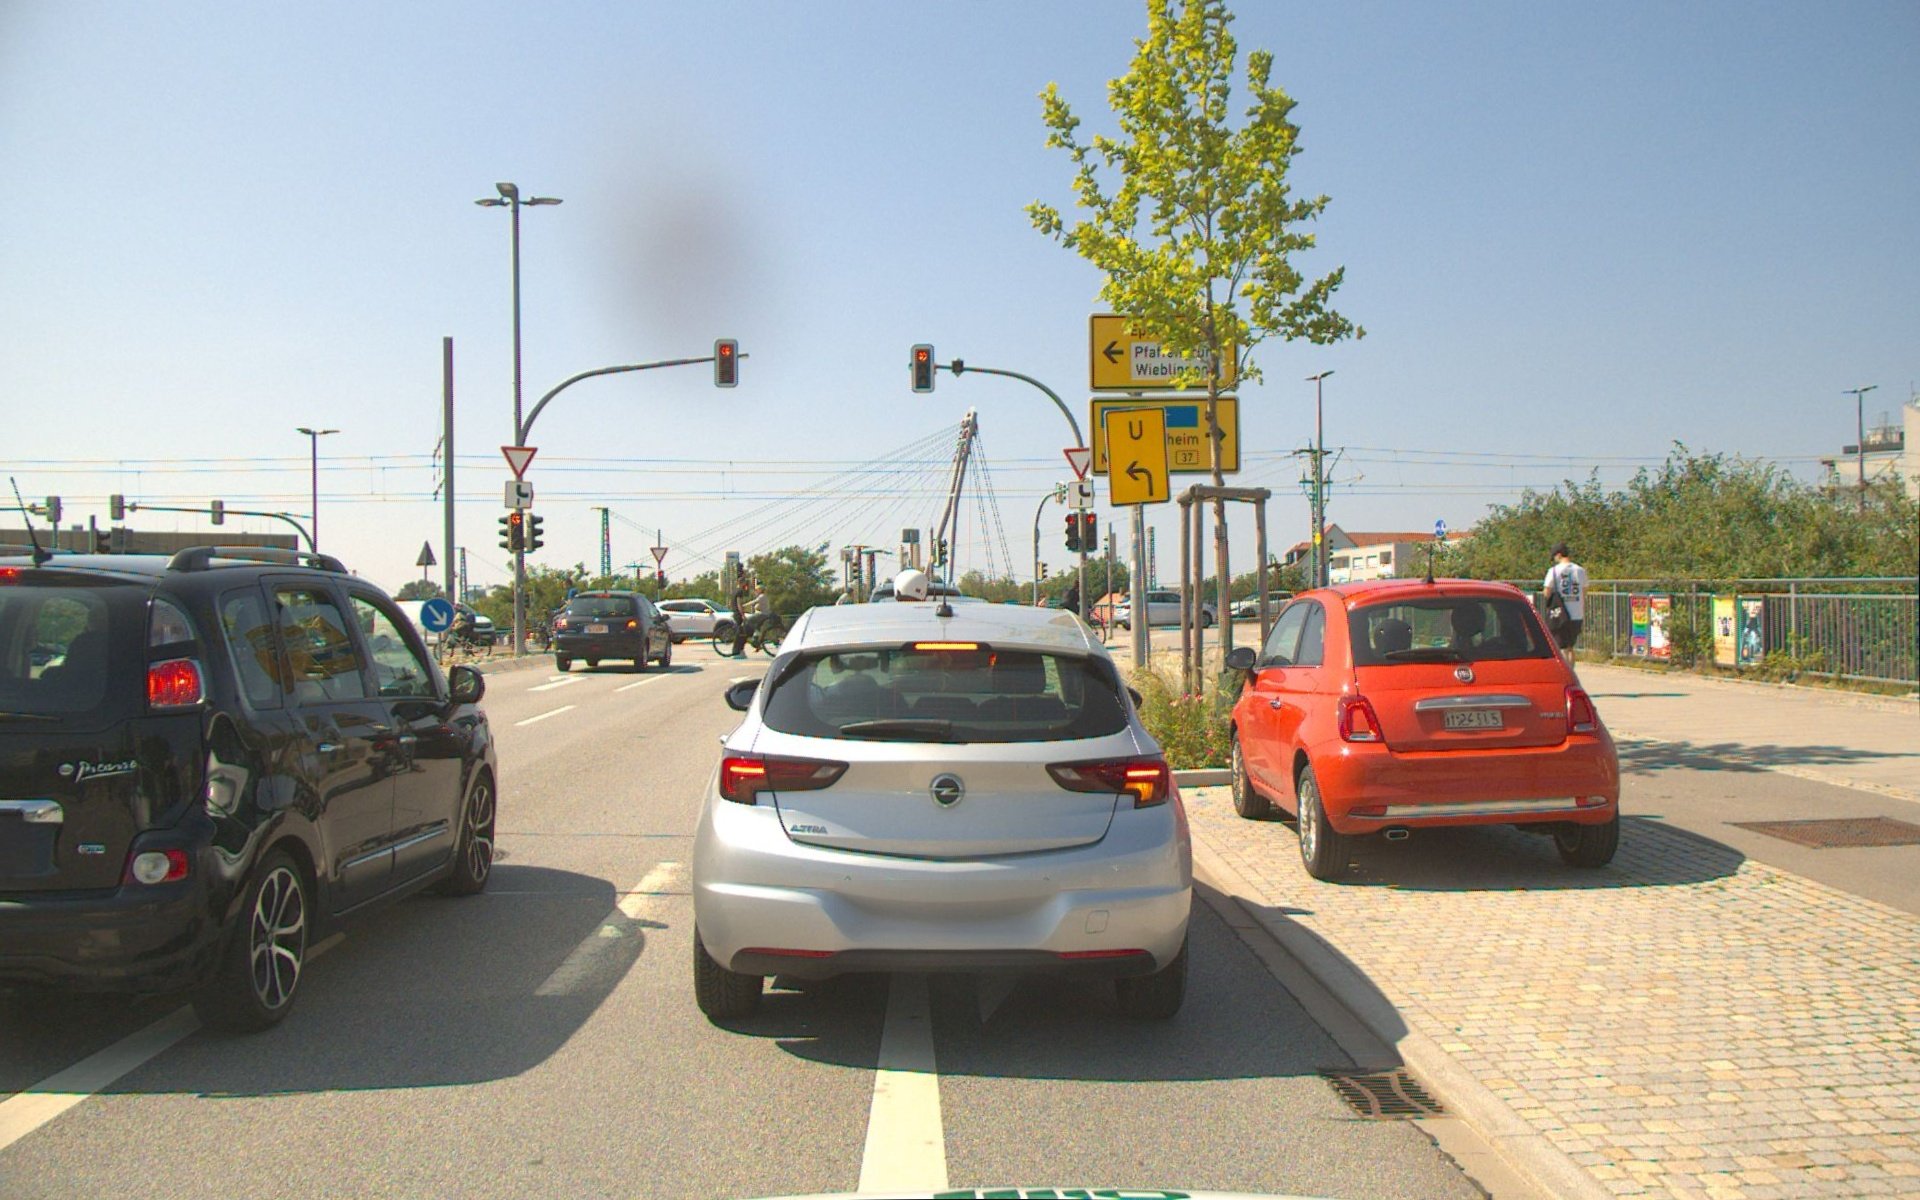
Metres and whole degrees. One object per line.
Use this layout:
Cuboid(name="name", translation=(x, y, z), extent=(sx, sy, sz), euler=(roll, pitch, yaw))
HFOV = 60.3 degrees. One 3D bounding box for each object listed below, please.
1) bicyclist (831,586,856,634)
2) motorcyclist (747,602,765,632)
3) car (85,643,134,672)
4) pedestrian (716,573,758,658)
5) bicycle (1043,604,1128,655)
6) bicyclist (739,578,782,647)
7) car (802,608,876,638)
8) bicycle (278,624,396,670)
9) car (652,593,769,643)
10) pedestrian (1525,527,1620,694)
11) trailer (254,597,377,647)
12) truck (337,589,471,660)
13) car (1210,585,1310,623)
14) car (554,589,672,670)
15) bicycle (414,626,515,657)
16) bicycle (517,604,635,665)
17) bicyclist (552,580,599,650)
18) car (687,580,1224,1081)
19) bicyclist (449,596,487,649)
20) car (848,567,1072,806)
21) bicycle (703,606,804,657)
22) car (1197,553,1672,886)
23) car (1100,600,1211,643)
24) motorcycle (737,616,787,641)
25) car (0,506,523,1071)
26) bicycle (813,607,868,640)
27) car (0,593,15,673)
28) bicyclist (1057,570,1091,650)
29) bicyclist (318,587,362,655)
Cuboid(name="bicyclist", translation=(-4.013, 0.353, 57.051), extent=(0.756, 1.638, 0.949), euler=(1, -1, 1))
Cuboid(name="motorcyclist", translation=(-10.414, 0.855, 84.332), extent=(0.792, 1.502, 0.885), euler=(1, -1, -1))
Cuboid(name="car", translation=(-39.709, 2.679, 77.176), extent=(2.440, 1.262, 1.271), euler=(0, -1, 42))
Cuboid(name="pedestrian", translation=(-5.062, 0.348, 37.524), extent=(0.730, 1.896, 0.748), euler=(2, -1, -22))
Cuboid(name="bicycle", translation=(3.031, 0.708, 39.963), extent=(2.053, 1.198, 0.551), euler=(0, -1, -24))
Cuboid(name="bicyclist", translation=(-4.703, 0.300, 39.033), extent=(0.926, 1.596, 0.822), euler=(1, -1, -4))
Cuboid(name="car", translation=(-5.536, 1.047, 75.542), extent=(3.156, 1.327, 1.519), euler=(1, -1, -13))
Cuboid(name="bicycle", translation=(-14.216, 1.064, 37.769), extent=(2.453, 1.025, 0.605), euler=(0, -1, -1))
Cuboid(name="car", translation=(-9.479, 0.679, 62.969), extent=(3.947, 1.846, 1.933), euler=(1, -1, 15))
Cuboid(name="pedestrian", translation=(7.069, 0.125, 19.128), extent=(0.743, 1.862, 0.884), euler=(1, -1, -1))
Cuboid(name="trailer", translation=(-25.051, 0.857, 64.269), extent=(4.184, 1.807, 2.000), euler=(1, -1, 22))
Cuboid(name="truck", translation=(-21.088, 0.913, 62.727), extent=(4.597, 2.585, 2.000), euler=(0, -1, 22))
Cuboid(name="car", translation=(14.048, 0.215, 77.440), extent=(4.180, 1.703, 1.990), euler=(1, -1, -18))
Cuboid(name="car", translation=(-6.399, 0.539, 30.806), extent=(1.555, 1.419, 3.338), euler=(0, -1, -2))
Cuboid(name="bicycle", translation=(-11.521, 0.970, 38.477), extent=(2.200, 0.704, 0.516), euler=(0, -1, -1))
Cuboid(name="bicycle", translation=(-8.819, 0.786, 38.068), extent=(2.474, 1.153, 0.728), euler=(-5, 2, -2))
Cuboid(name="bicyclist", translation=(-8.842, 0.350, 38.046), extent=(0.805, 1.587, 0.863), euler=(1, -1, 2))
Cuboid(name="car", translation=(-0.061, 0.722, 7.269), extent=(1.656, 1.546, 4.269), euler=(0, 0, -1))
Cuboid(name="bicyclist", translation=(-11.441, 0.521, 38.475), extent=(0.643, 1.196, 0.731), euler=(1, -1, 0))
Cuboid(name="car", translation=(-0.043, 0.658, 13.991), extent=(1.602, 1.703, 3.743), euler=(2, -1, -2))
Cuboid(name="bicycle", translation=(-4.861, 0.737, 39.007), extent=(2.311, 1.147, 0.677), euler=(1, -1, -4))
Cuboid(name="car", translation=(2.606, 0.566, 10.047), extent=(1.636, 1.566, 3.915), euler=(-2, 1, -2))
Cuboid(name="car", translation=(7.512, 0.818, 63.635), extent=(3.903, 1.578, 1.671), euler=(-1, -1, -11))
Cuboid(name="motorcycle", translation=(-10.091, 1.451, 84.337), extent=(2.485, 1.255, 0.648), euler=(1, -1, -2))
Cuboid(name="car", translation=(-3.155, 0.575, 6.789), extent=(1.767, 1.650, 3.915), euler=(0, -1, -1))
Cuboid(name="bicycle", translation=(-4.118, 0.810, 57.058), extent=(1.827, 1.087, 0.578), euler=(1, -1, 3))
Cuboid(name="car", translation=(-26.038, 0.830, 43.819), extent=(1.652, 2.049, 3.961), euler=(2, -1, -29))
Cuboid(name="bicyclist", translation=(2.748, 0.244, 39.845), extent=(0.586, 1.920, 0.632), euler=(2, -1, -23))
Cuboid(name="bicyclist", translation=(-14.166, 0.472, 37.781), extent=(0.643, 1.528, 0.843), euler=(1, -1, 0))
